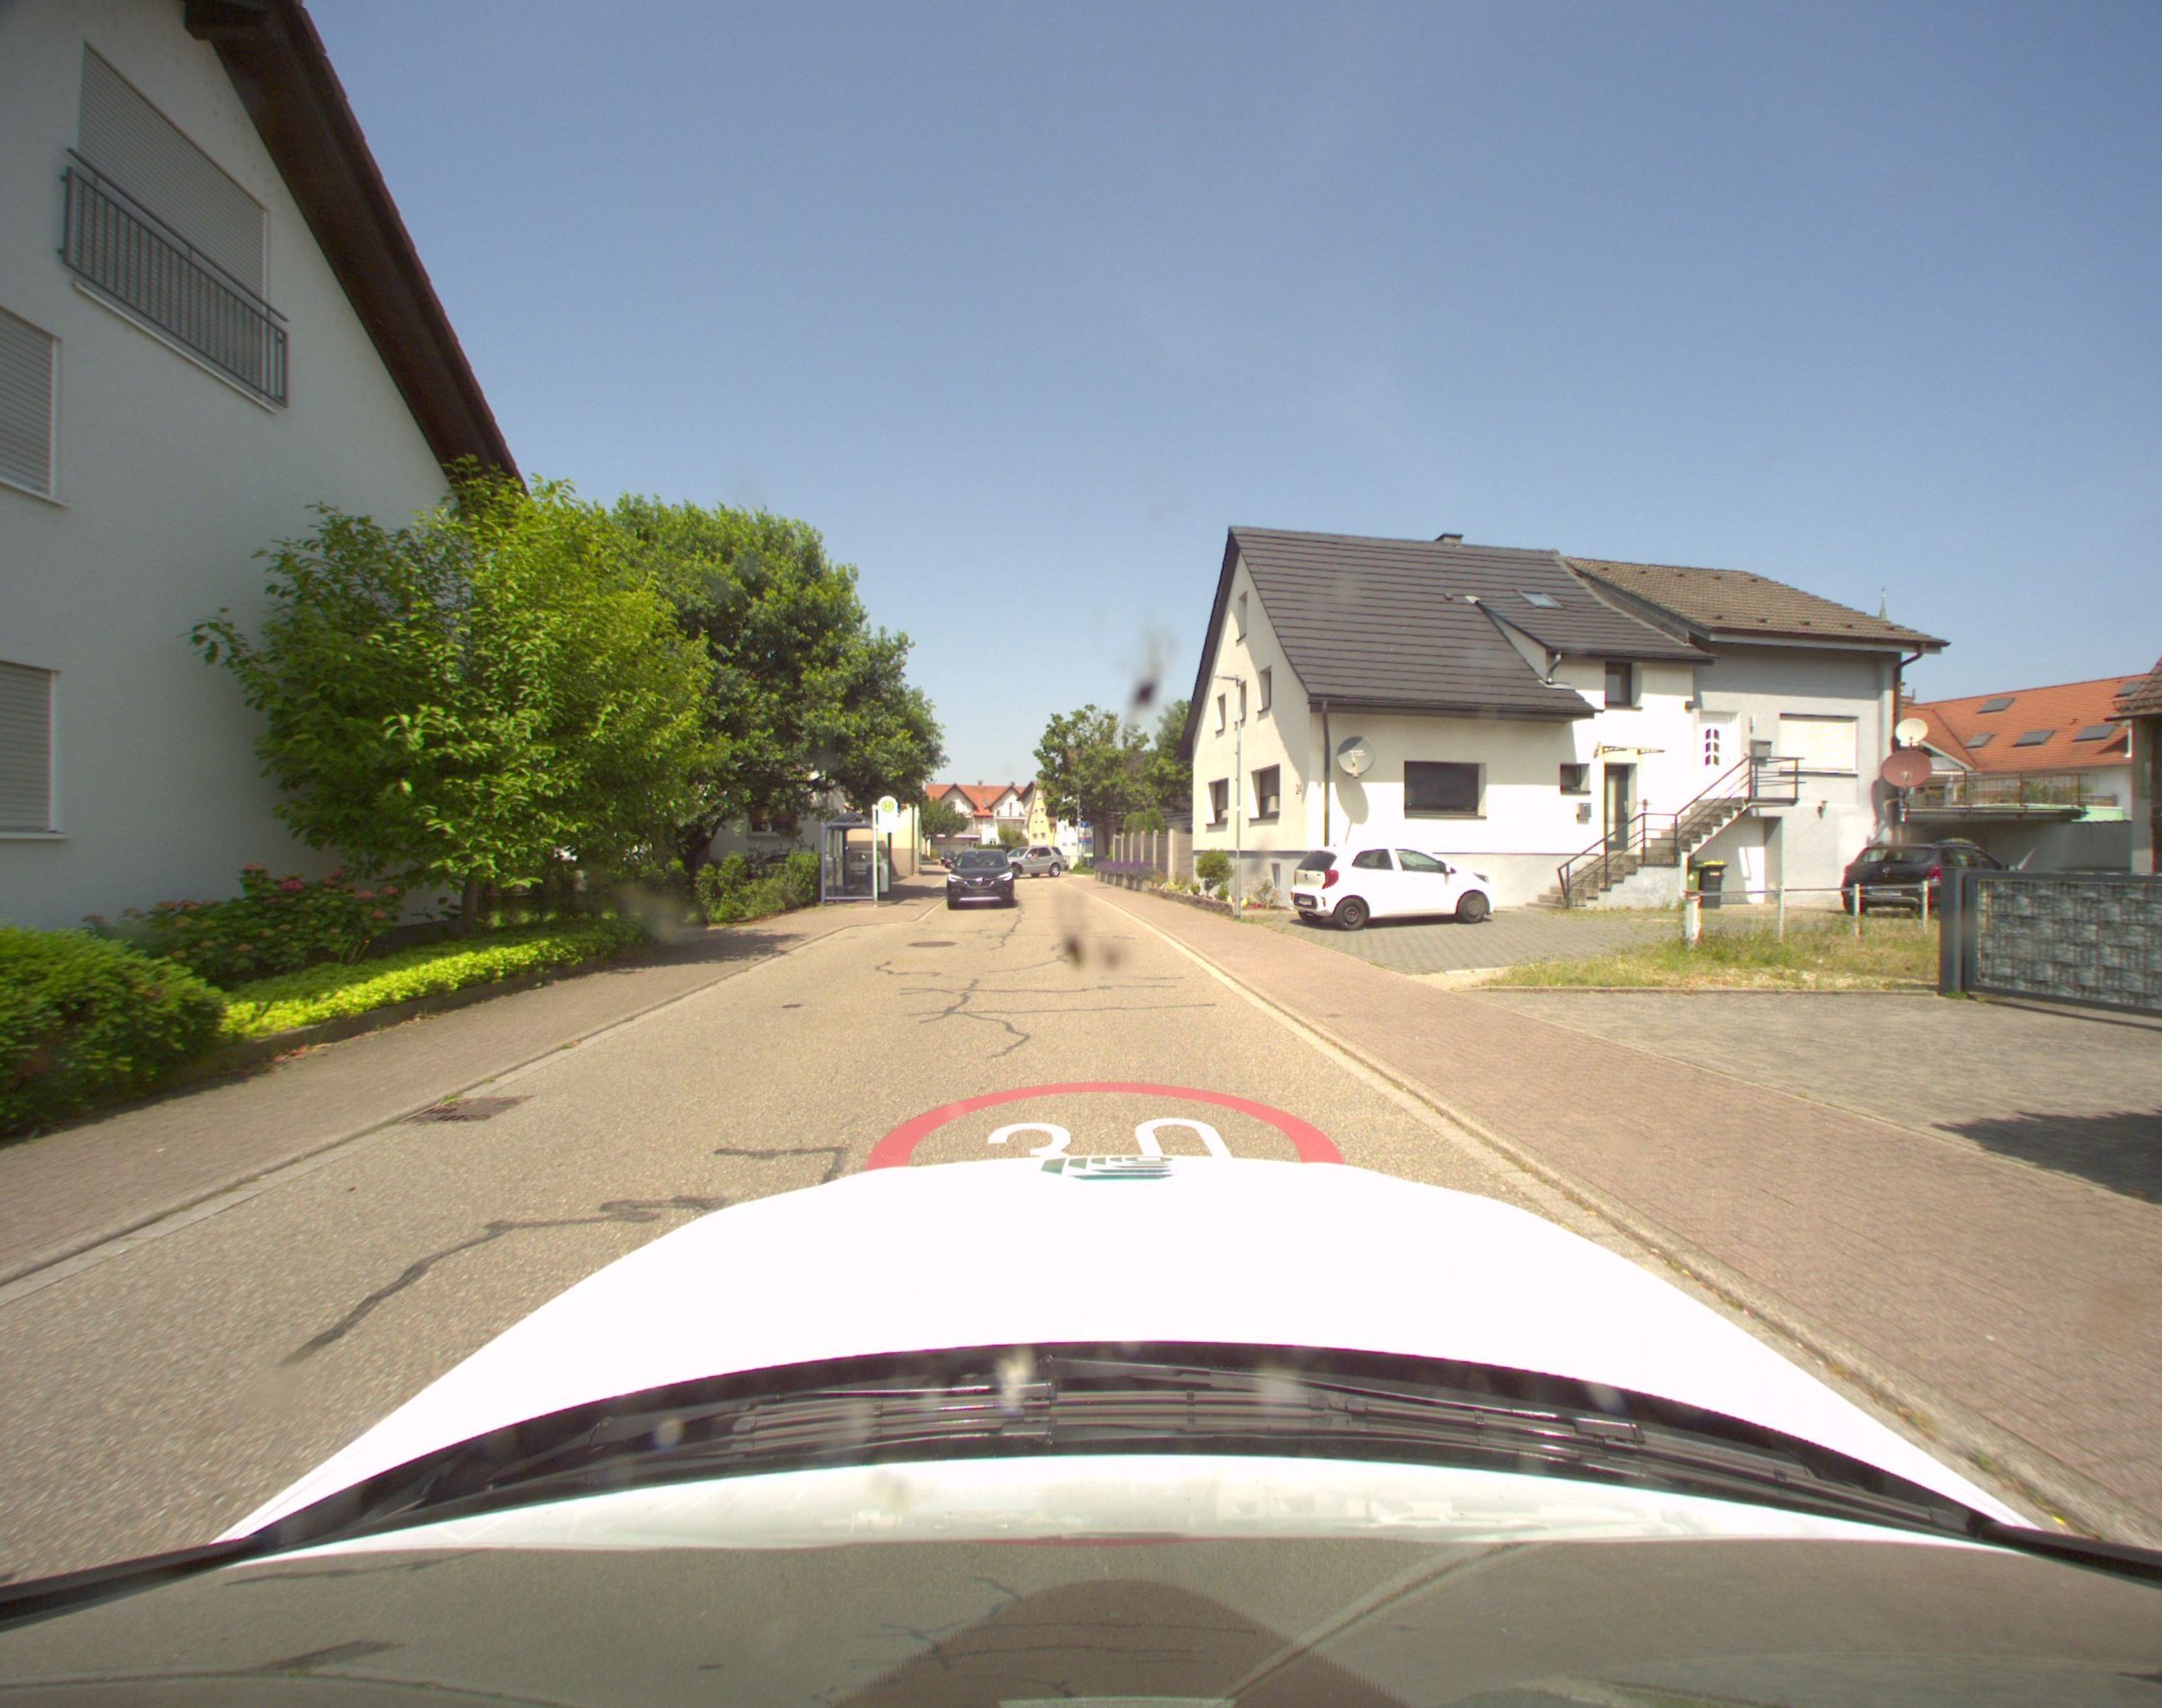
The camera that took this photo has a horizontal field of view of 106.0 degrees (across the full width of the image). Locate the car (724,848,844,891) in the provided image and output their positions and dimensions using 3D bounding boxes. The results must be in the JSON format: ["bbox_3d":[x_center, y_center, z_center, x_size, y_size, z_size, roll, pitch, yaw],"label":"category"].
[{"bbox_3d":[-11.875,0.603,32.800,4.158,1.538,1.769,-2,1,-8],"label":"car"}]

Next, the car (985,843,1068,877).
[{"bbox_3d":[-2.921,0.270,44.618,4.355,1.767,1.869,-1,1,-43],"label":"car"}]

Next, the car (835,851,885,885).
[{"bbox_3d":[-9.963,0.606,37.030,1.778,1.434,4.043,0,1,-9],"label":"car"}]

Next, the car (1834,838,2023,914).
[{"bbox_3d":[18.105,0.450,17.397,3.580,1.491,1.705,1,0,-24],"label":"car"}]

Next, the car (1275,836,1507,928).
[{"bbox_3d":[5.684,0.455,15.128,3.658,1.474,1.759,-2,1,-11],"label":"car"}]

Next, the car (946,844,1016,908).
[{"bbox_3d":[-2.798,0.566,23.296,1.774,1.623,4.097,-2,0,-6],"label":"car"}]

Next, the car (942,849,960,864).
[{"bbox_3d":[-13.189,0.259,82.350,1.628,1.486,3.984,-1,1,-12],"label":"car"}]
